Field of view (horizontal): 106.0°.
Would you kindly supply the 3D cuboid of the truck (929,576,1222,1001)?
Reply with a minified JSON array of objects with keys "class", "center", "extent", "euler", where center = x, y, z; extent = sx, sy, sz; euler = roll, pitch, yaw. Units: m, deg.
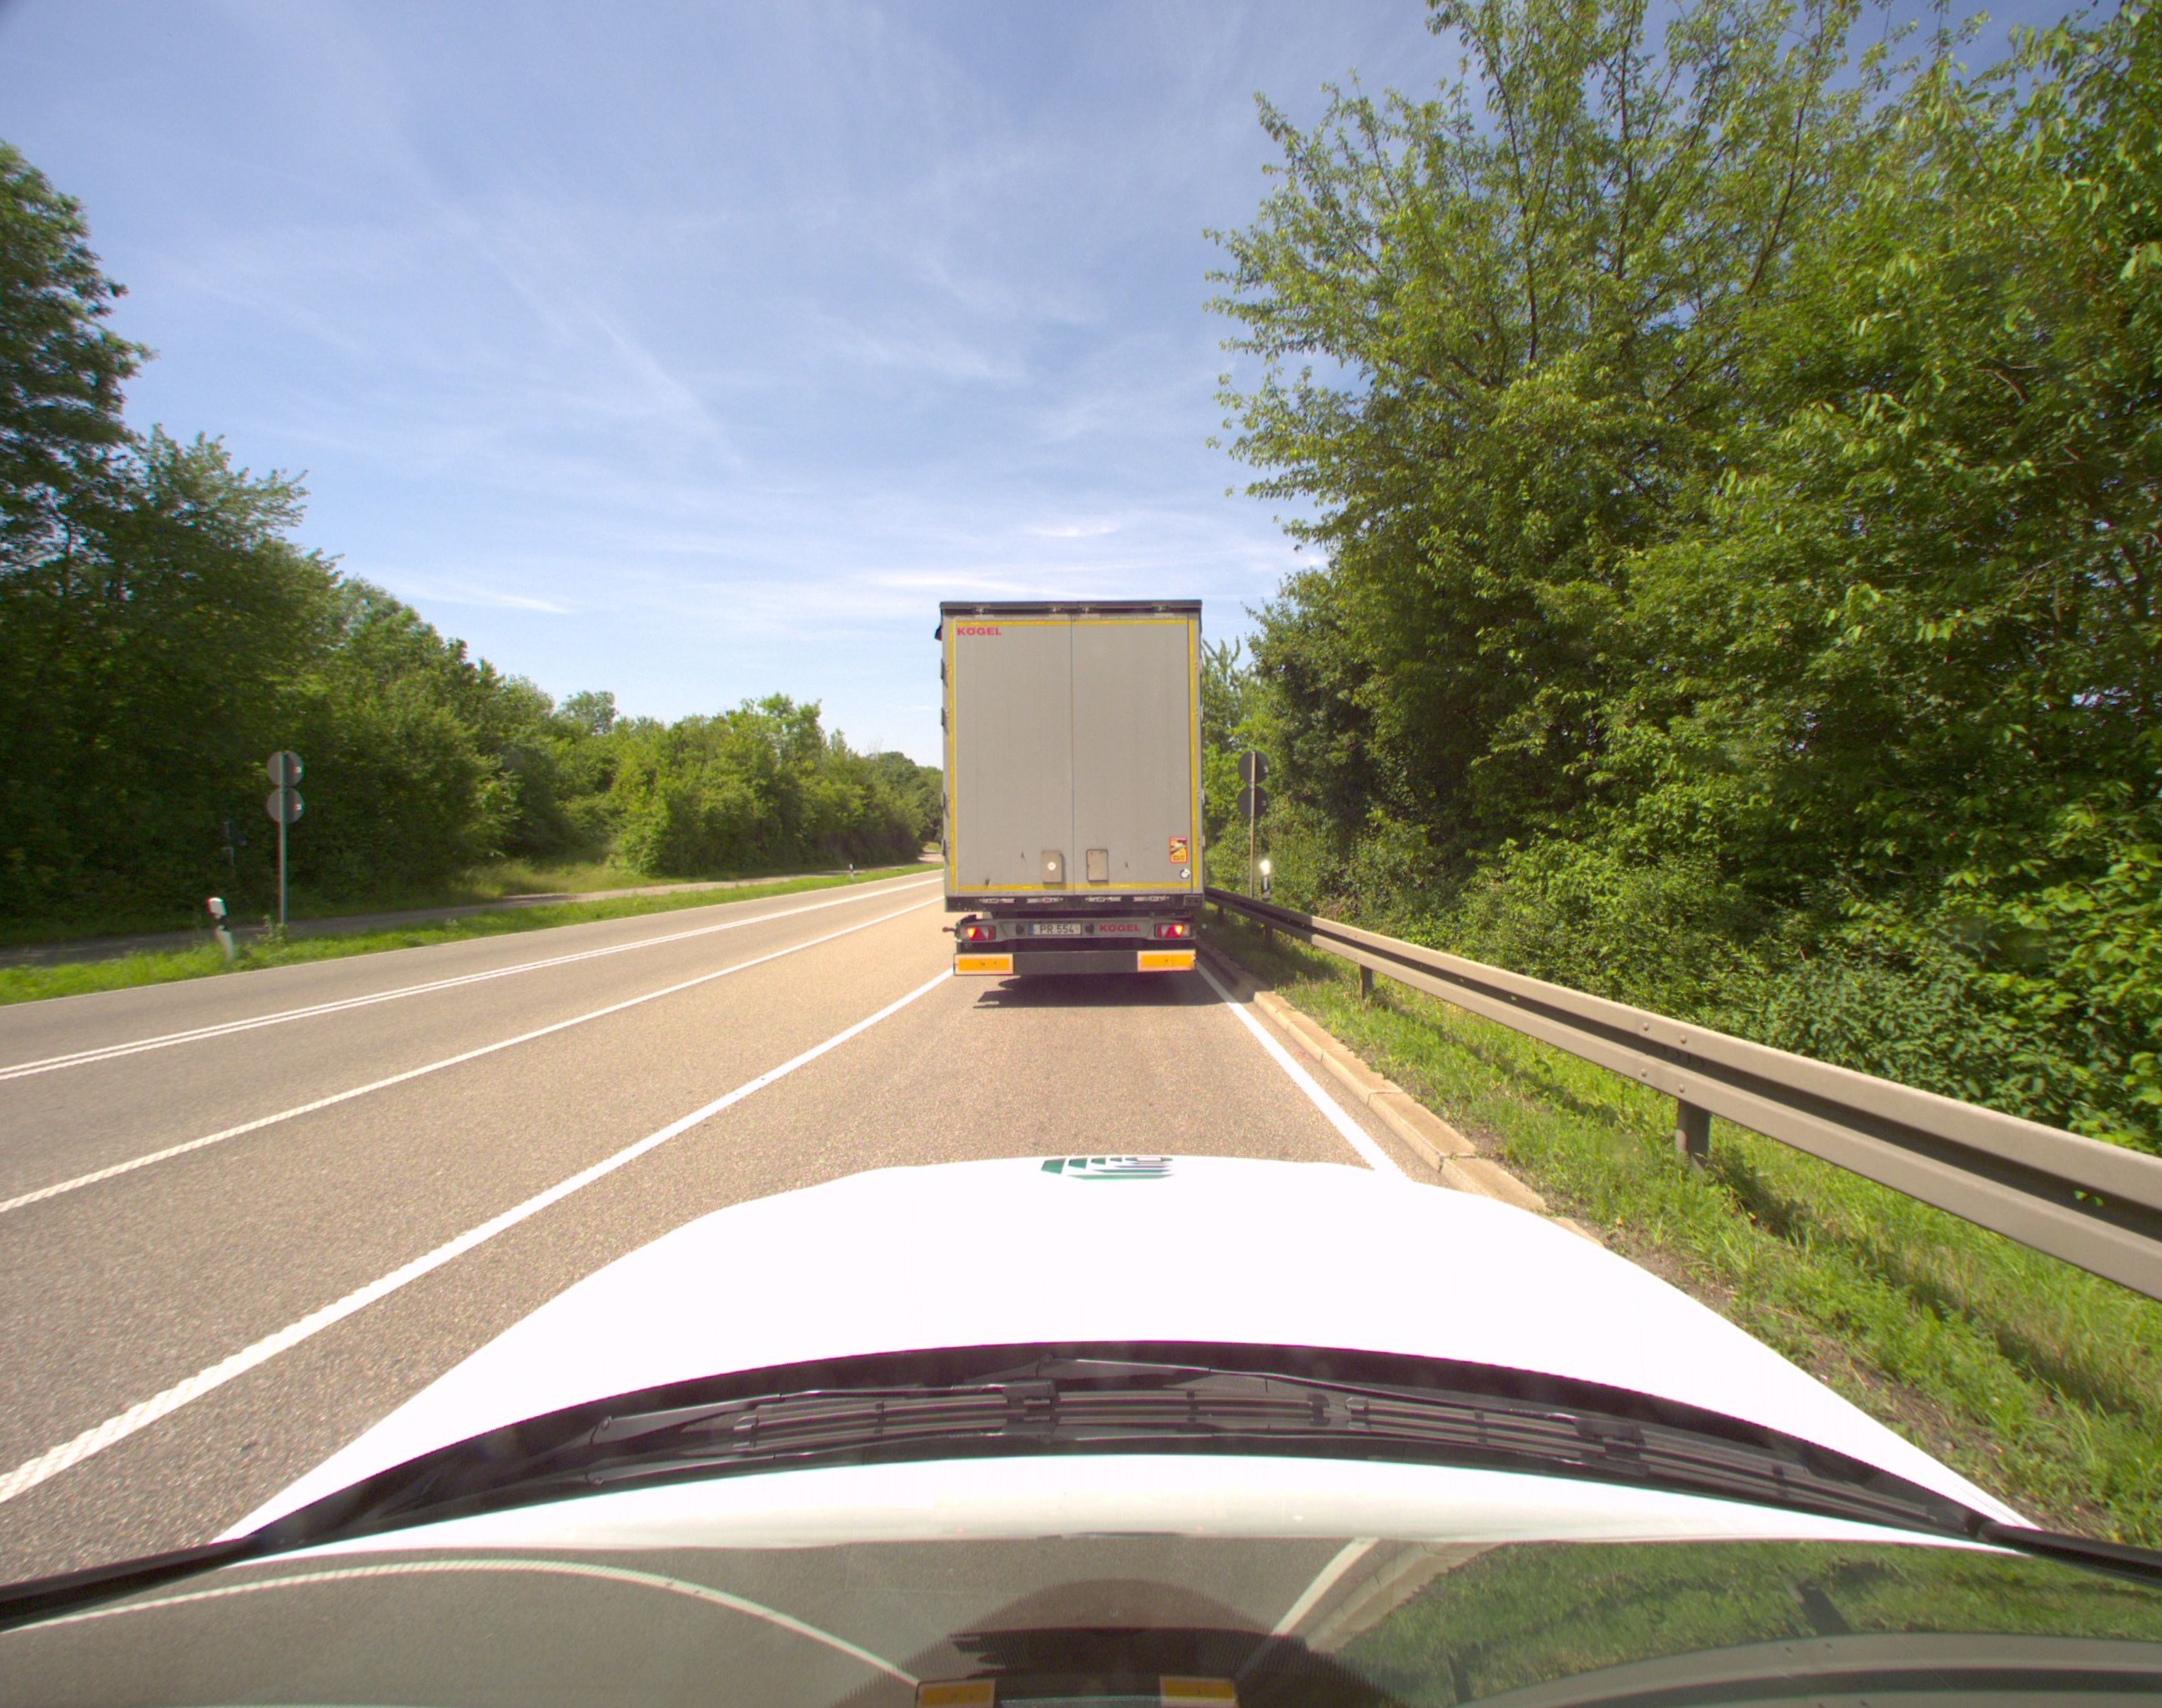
[{"class":"truck","center":[0.065,-0.642,13.755],"extent":[2.747,4.029,11.926],"euler":[-1,0,1]}]
